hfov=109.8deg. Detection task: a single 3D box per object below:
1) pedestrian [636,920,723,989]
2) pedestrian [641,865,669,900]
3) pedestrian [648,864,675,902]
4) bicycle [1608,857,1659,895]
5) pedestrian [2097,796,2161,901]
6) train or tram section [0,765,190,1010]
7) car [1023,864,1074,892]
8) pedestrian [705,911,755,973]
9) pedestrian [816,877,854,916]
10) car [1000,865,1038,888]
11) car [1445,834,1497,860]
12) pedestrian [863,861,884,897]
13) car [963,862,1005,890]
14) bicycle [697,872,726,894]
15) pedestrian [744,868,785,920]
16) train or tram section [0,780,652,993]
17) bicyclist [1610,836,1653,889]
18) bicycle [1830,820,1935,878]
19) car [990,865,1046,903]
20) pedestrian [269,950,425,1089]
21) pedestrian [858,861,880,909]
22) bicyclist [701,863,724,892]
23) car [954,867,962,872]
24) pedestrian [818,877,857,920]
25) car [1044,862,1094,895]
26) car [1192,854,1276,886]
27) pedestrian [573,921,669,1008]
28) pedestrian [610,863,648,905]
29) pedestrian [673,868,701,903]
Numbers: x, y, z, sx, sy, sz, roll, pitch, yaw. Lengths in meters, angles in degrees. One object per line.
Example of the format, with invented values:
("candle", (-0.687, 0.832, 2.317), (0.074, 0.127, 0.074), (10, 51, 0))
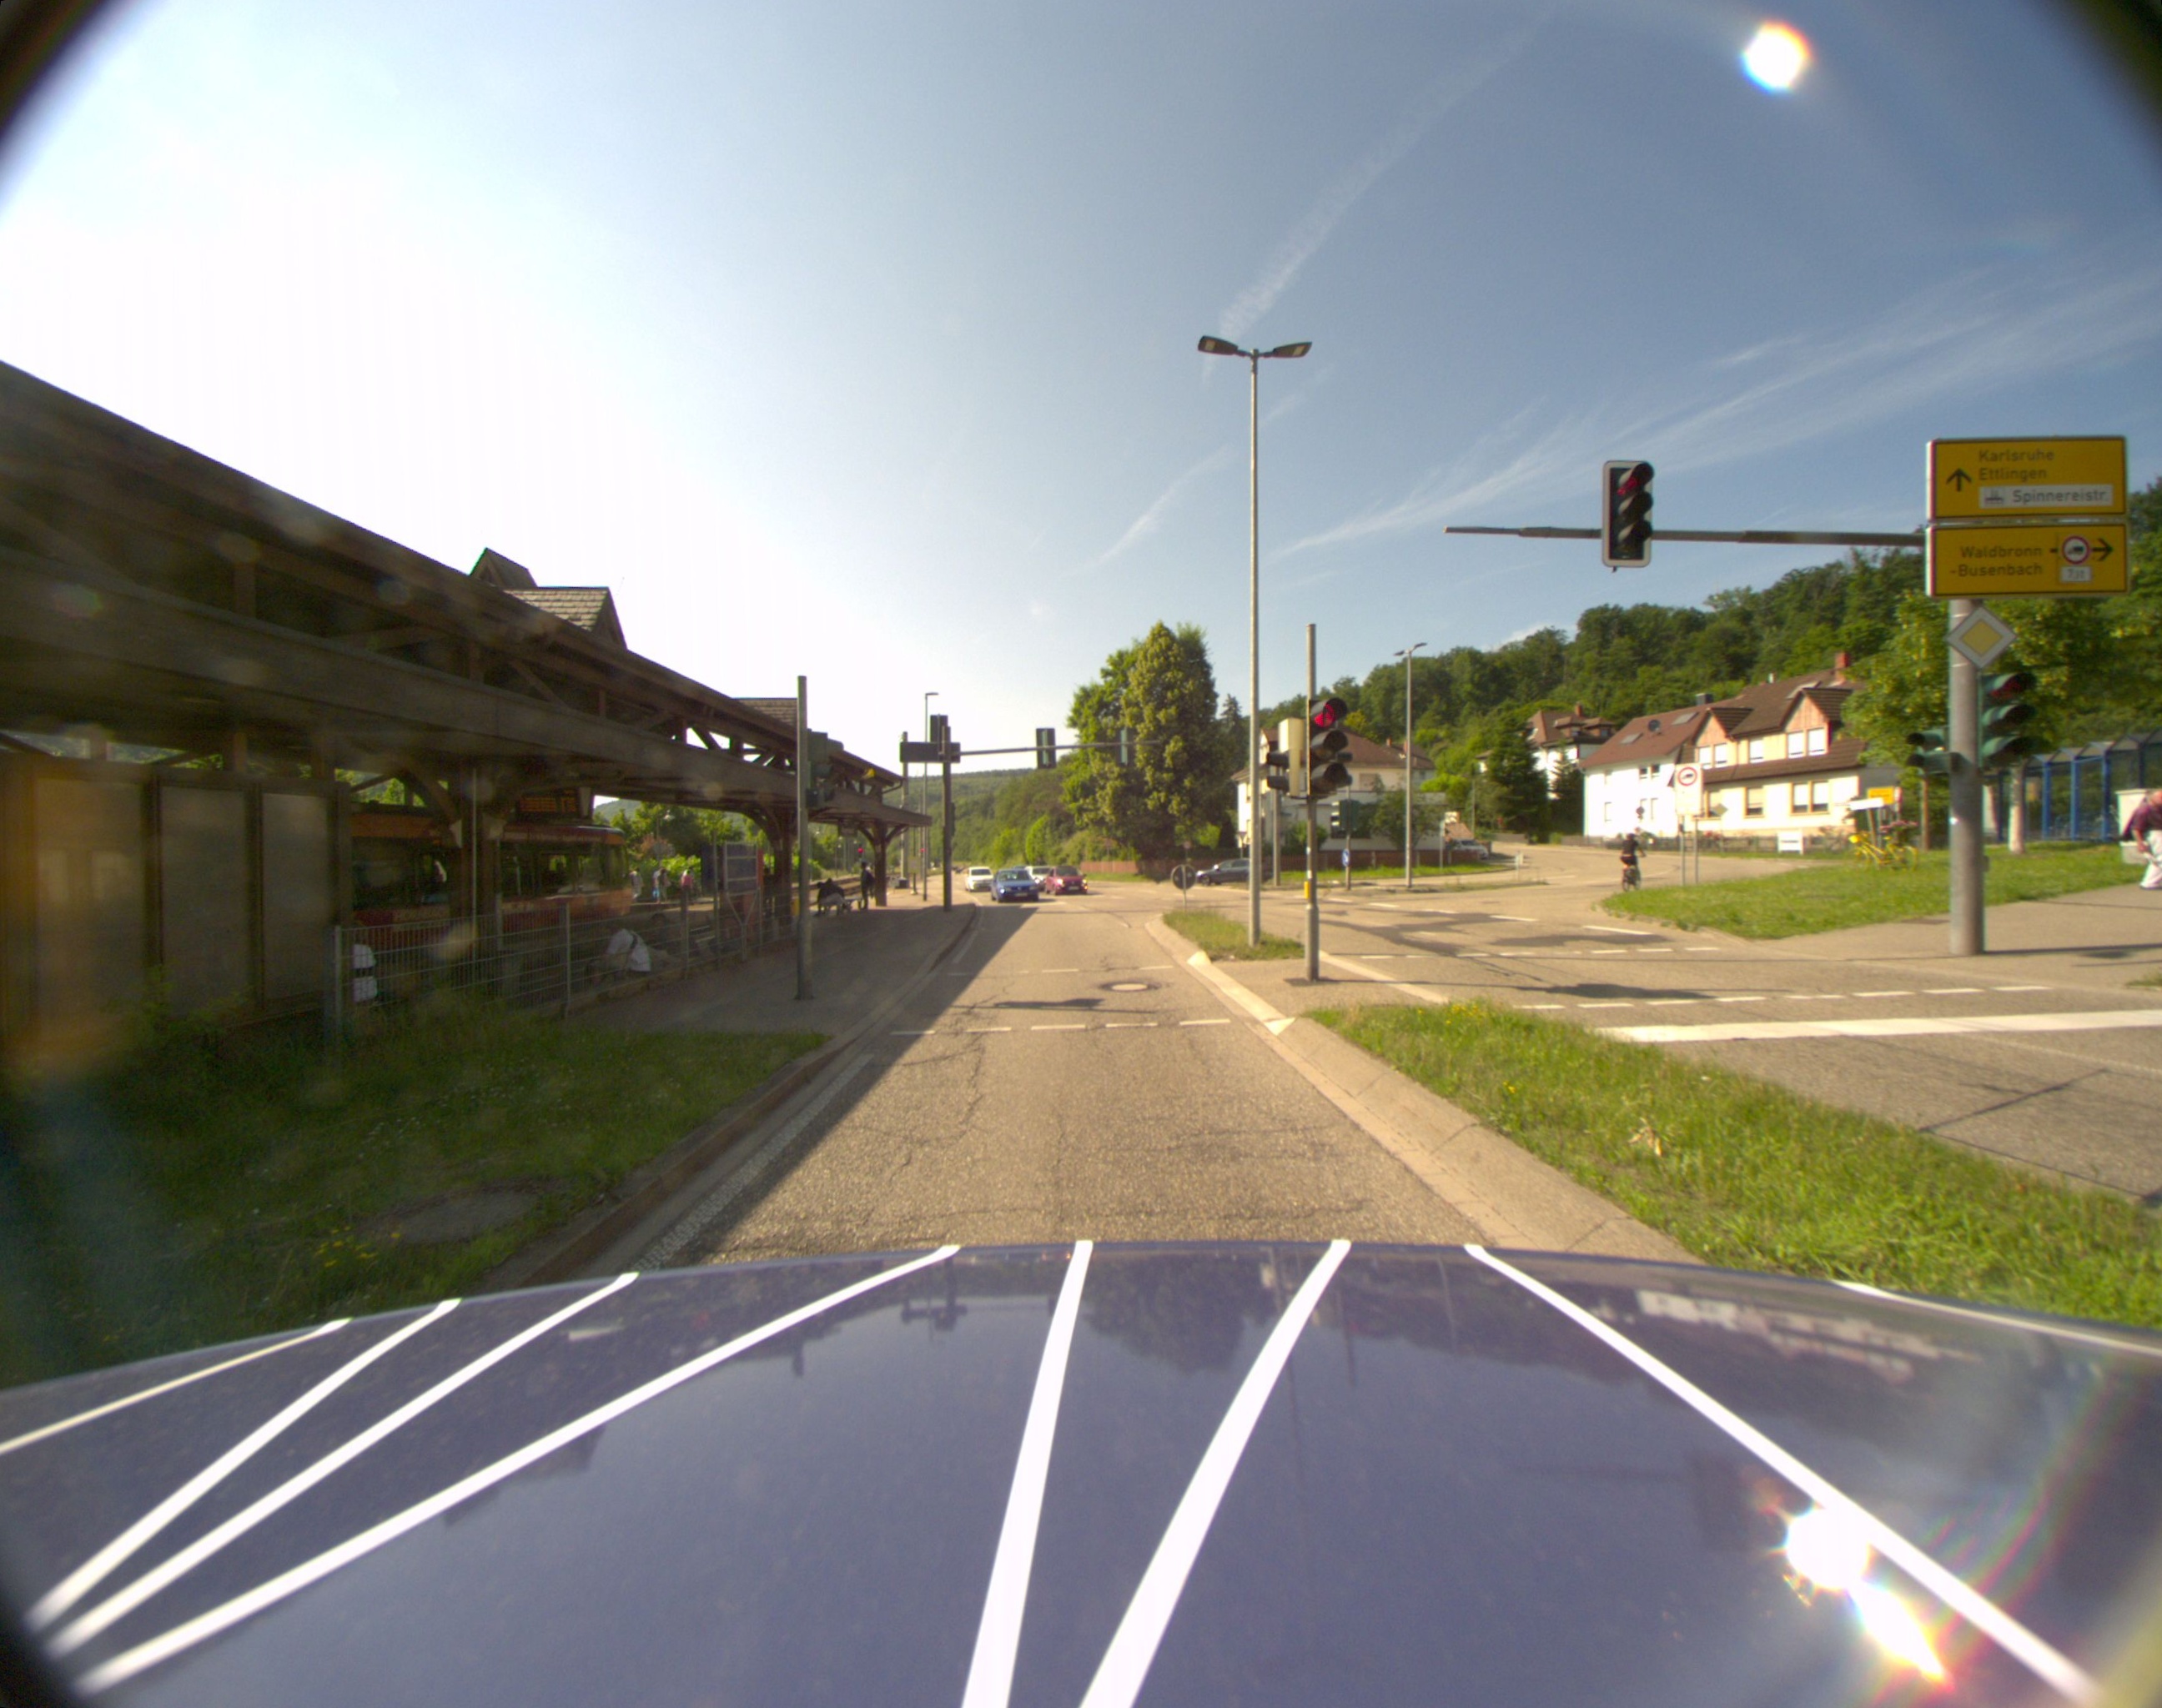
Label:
("pedestrian", (-5.885, 1.461, 11.187), (0.847, 0.869, 0.808), (-3, -1, -4))
("pedestrian", (-21.136, 1.418, 37.720), (0.867, 1.673, 0.822), (-3, -1, -4))
("pedestrian", (-19.291, 1.324, 34.964), (0.904, 1.673, 0.821), (-3, -1, -20))
("bicycle", (18.345, 0.728, 25.210), (2.003, 1.155, 0.733), (-2, -1, -36))
("pedestrian", (17.623, -0.099, 12.500), (0.712, 1.667, 0.741), (-3, -1, -1))
("train or tram section", (-16.044, 0.533, 6.416), (2.793, 3.344, 12.046), (-3, 0, -1))
("car", (-1.986, 1.400, 44.636), (1.981, 1.494, 4.746), (-2, -1, -14))
("pedestrian", (-5.910, 1.473, 12.797), (0.619, 0.960, 0.406), (-3, -1, -4))
("pedestrian", (-7.895, 1.347, 24.451), (1.010, 1.153, 0.948), (-2, 0, -11))
("car", (-4.417, 1.577, 53.410), (1.981, 1.494, 3.983), (-2, -1, -14))
("car", (28.445, -0.481, 55.534), (1.938, 1.627, 4.002), (-3, -1, 4))
("pedestrian", (-10.480, 1.271, 38.407), (0.917, 1.726, 1.250), (-3, -1, -16))
("car", (-6.014, 1.344, 46.915), (2.001, 1.575, 3.995), (-3, 0, -15))
("bicycle", (-22.475, 1.733, 46.275), (0.873, 1.246, 2.294), (-3, -1, -7))
("pedestrian", (-9.594, 1.193, 23.074), (0.863, 1.538, 0.922), (-1, -1, -3))
("train or tram section", (-16.380, 0.549, 19.480), (2.863, 3.345, 14.352), (-2, 0, -2))
("bicyclist", (18.200, 0.290, 25.115), (0.995, 1.681, 0.805), (-3, -1, -36))
("bicycle", (19.219, -0.078, 18.281), (0.620, 1.247, 1.758), (-6, -3, 4))
("car", (-2.818, 1.249, 33.132), (1.867, 1.474, 4.297), (-1, 0, -13))
("pedestrian", (-6.778, 1.505, 7.053), (0.744, 1.109, 0.667), (-3, -1, -4))
("pedestrian", (-7.580, 1.100, 27.131), (0.659, 1.682, 0.738), (-1, 0, -11))
("bicyclist", (-22.506, 1.415, 46.423), (1.010, 1.716, 0.865), (-3, -1, -8))
("car", (-40.993, 5.139, 253.485), (2.001, 1.673, 3.995), (-3, -1, -17))
("pedestrian", (-7.451, 1.357, 23.278), (0.994, 1.228, 0.596), (-3, -1, -11))
("car", (-0.665, 1.213, 38.473), (1.663, 1.524, 3.951), (-2, -1, -13))
("car", (8.469, 0.896, 42.074), (3.990, 1.499, 2.004), (-4, -1, 33))
("pedestrian", (-5.901, 1.402, 9.791), (0.744, 0.976, 0.769), (-3, -1, -4))
("pedestrian", (-20.347, 1.334, 34.229), (0.989, 1.831, 1.074), (-2, -2, 2))
("pedestrian", (-19.721, 1.562, 38.028), (0.901, 1.673, 0.824), (-4, -1, 29))
